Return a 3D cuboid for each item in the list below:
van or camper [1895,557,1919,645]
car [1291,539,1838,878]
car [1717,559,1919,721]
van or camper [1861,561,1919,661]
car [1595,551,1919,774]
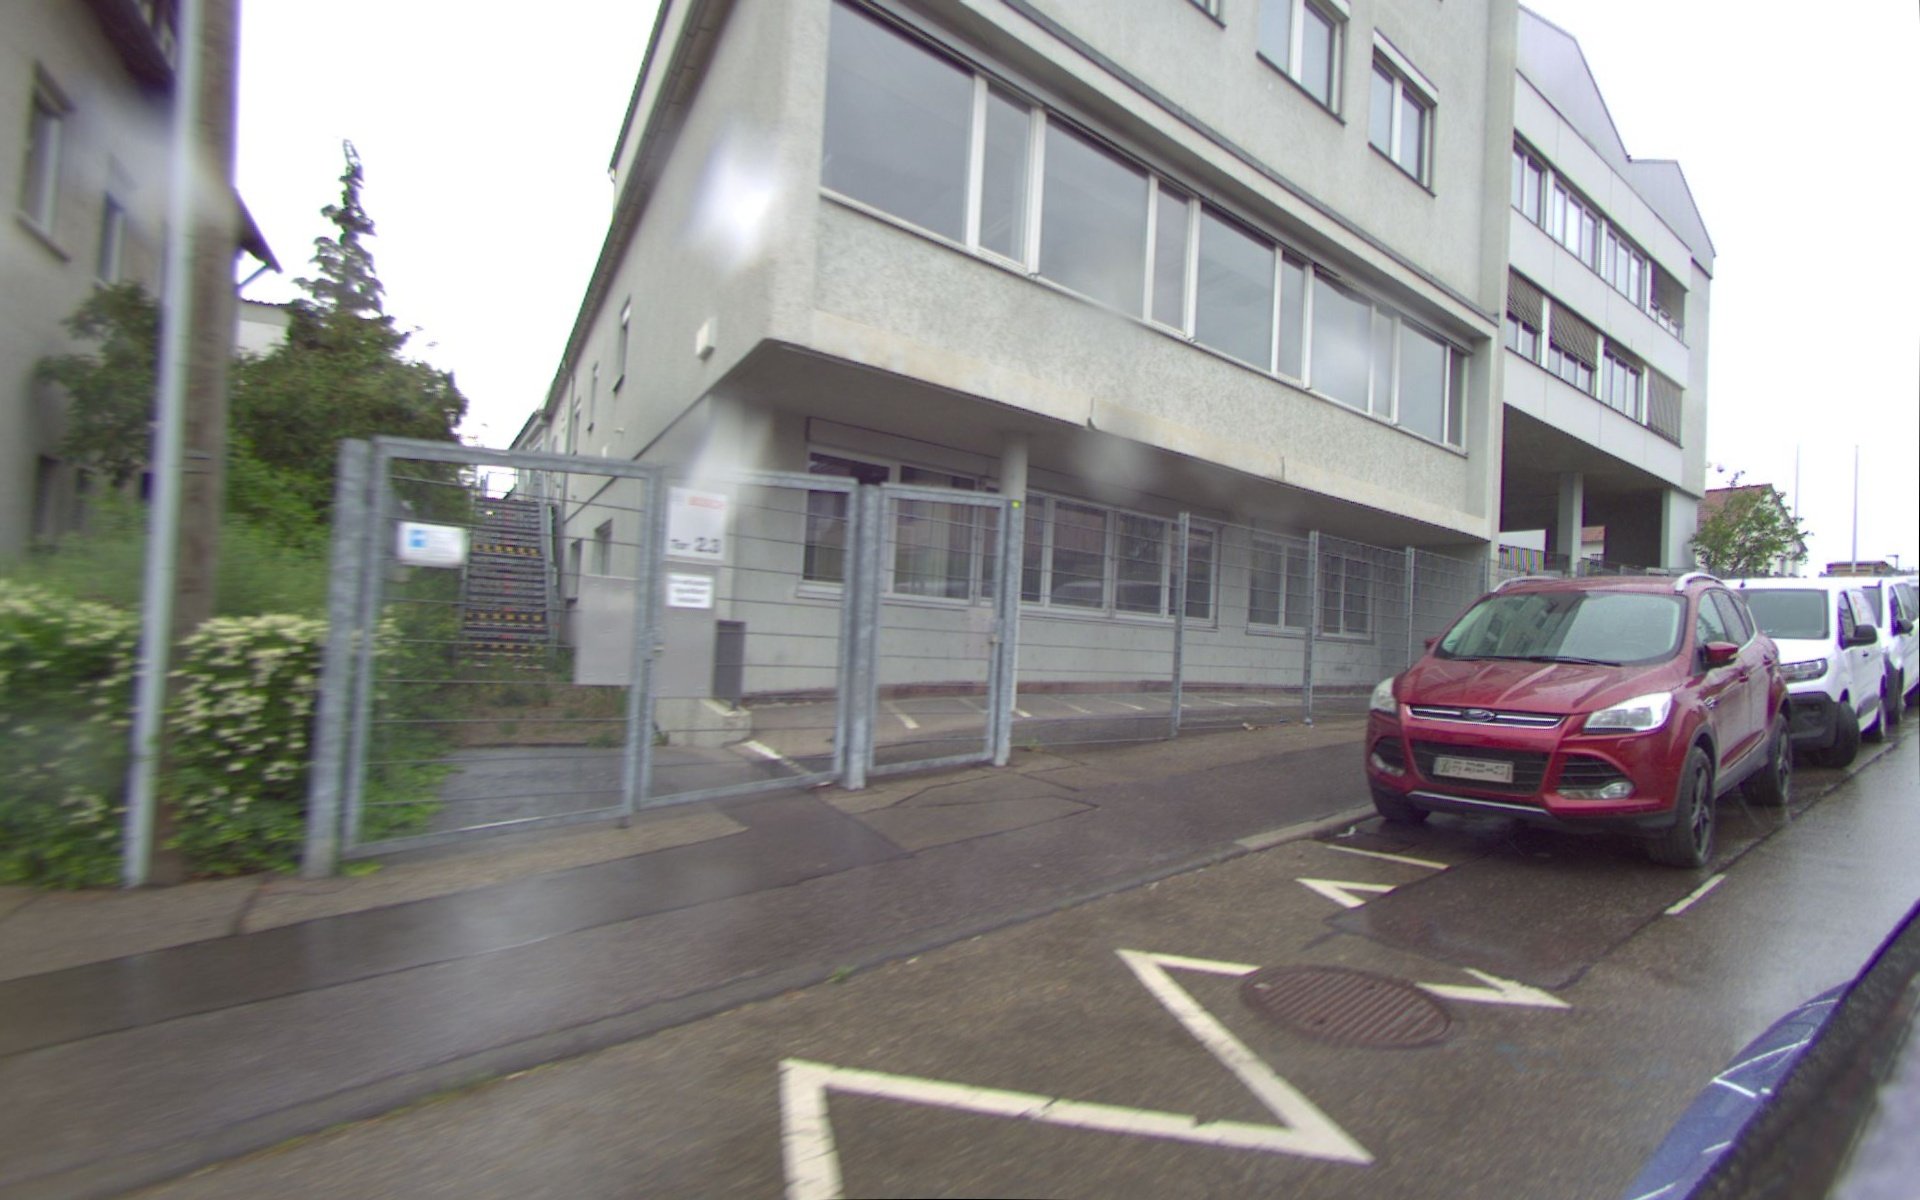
[{"bbox_3d":[27.209,0.065,27.605,5.347,2.271,1.997,1,1,-42],"label":"van or camper"},{"bbox_3d":[4.608,0.518,7.334,4.871,1.665,1.997,0,1,-41],"label":"car"},{"bbox_3d":[12.780,0.472,14.605,4.889,1.959,1.997,0,1,-41],"label":"car"},{"bbox_3d":[22.439,0.257,23.261,5.113,2.140,1.997,1,1,-42],"label":"van or camper"},{"bbox_3d":[8.471,0.508,10.612,4.410,1.857,1.881,0,1,-41],"label":"car"}]
